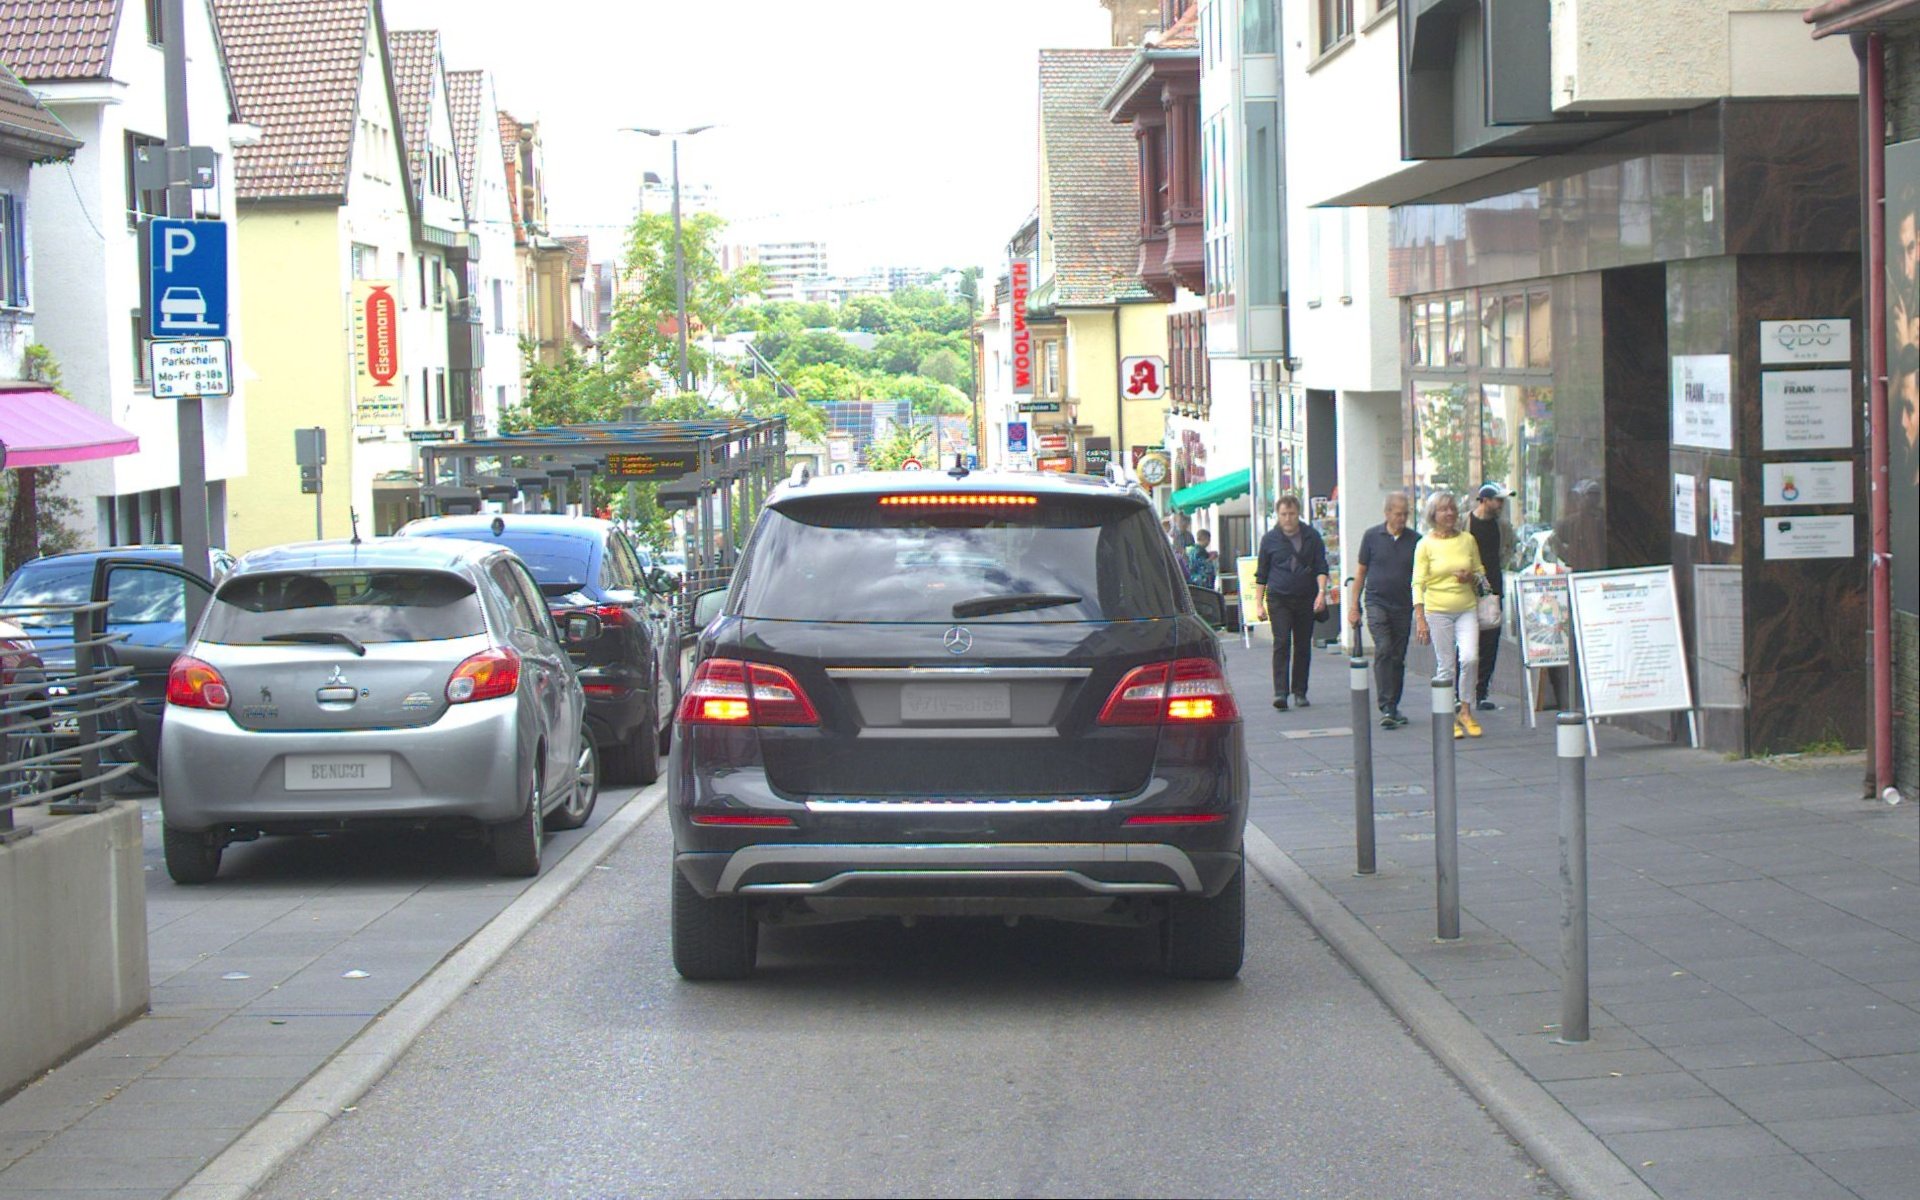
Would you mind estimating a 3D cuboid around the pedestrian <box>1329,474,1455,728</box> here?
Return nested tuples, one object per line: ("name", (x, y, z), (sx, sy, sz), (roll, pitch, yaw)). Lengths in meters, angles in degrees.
("pedestrian", (3.072, 0.002, 24.519), (0.711, 1.747, 0.785), (-3, 1, 0))

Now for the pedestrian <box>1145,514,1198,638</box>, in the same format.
("pedestrian", (2.904, -0.329, 47.215), (0.621, 1.683, 0.566), (0, 1, -7))

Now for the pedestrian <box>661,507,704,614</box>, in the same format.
("pedestrian", (-4.424, -0.634, 54.762), (0.611, 1.683, 0.563), (0, 1, -10))

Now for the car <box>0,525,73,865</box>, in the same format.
("car", (-5.200, 0.435, 14.773), (1.739, 1.537, 4.193), (0, 1, -1))

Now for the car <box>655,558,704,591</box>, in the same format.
("car", (-9.590, -0.887, 117.655), (1.388, 1.066, 3.113), (-2, 1, 0))

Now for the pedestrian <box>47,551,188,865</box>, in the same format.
("pedestrian", (-3.952, 0.498, 16.154), (0.466, 1.427, 0.492), (-3, 1, 0))

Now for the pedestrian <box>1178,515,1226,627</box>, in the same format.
("pedestrian", (3.688, -0.442, 52.457), (0.573, 1.683, 0.566), (-3, 1, -7))

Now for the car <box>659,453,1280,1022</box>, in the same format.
("car", (-0.050, 0.394, 12.600), (1.900, 1.741, 4.001), (1, 1, -2))

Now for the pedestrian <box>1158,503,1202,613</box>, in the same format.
("pedestrian", (3.410, -0.651, 53.293), (0.573, 1.683, 0.566), (0, 1, -7))

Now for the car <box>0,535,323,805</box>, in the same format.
("car", (-5.299, 0.364, 21.595), (1.739, 1.470, 3.884), (1, 2, 2))

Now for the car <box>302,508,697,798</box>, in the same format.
("car", (-2.776, 0.268, 21.672), (1.956, 1.634, 4.315), (0, 1, -1))

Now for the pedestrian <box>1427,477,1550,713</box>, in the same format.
("pedestrian", (3.917, -0.043, 25.499), (0.662, 1.683, 0.543), (-5, 1, -7))

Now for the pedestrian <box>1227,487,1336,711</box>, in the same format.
("pedestrian", (2.584, -0.015, 27.725), (0.711, 1.747, 0.787), (-3, 1, 0))

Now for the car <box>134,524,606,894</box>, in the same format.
("car", (-2.638, 0.423, 16.103), (1.620, 1.527, 3.670), (0, 1, -1))

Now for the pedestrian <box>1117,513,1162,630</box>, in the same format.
("pedestrian", (2.675, -0.422, 51.179), (0.542, 1.720, 0.528), (-2, 1, -7))

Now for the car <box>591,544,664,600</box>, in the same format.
("car", (-9.189, -0.792, 95.094), (1.660, 1.485, 3.748), (1, 1, 0))

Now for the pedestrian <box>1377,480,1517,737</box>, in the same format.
("pedestrian", (3.192, 0.048, 22.583), (0.711, 1.625, 0.835), (-3, 1, 0))
